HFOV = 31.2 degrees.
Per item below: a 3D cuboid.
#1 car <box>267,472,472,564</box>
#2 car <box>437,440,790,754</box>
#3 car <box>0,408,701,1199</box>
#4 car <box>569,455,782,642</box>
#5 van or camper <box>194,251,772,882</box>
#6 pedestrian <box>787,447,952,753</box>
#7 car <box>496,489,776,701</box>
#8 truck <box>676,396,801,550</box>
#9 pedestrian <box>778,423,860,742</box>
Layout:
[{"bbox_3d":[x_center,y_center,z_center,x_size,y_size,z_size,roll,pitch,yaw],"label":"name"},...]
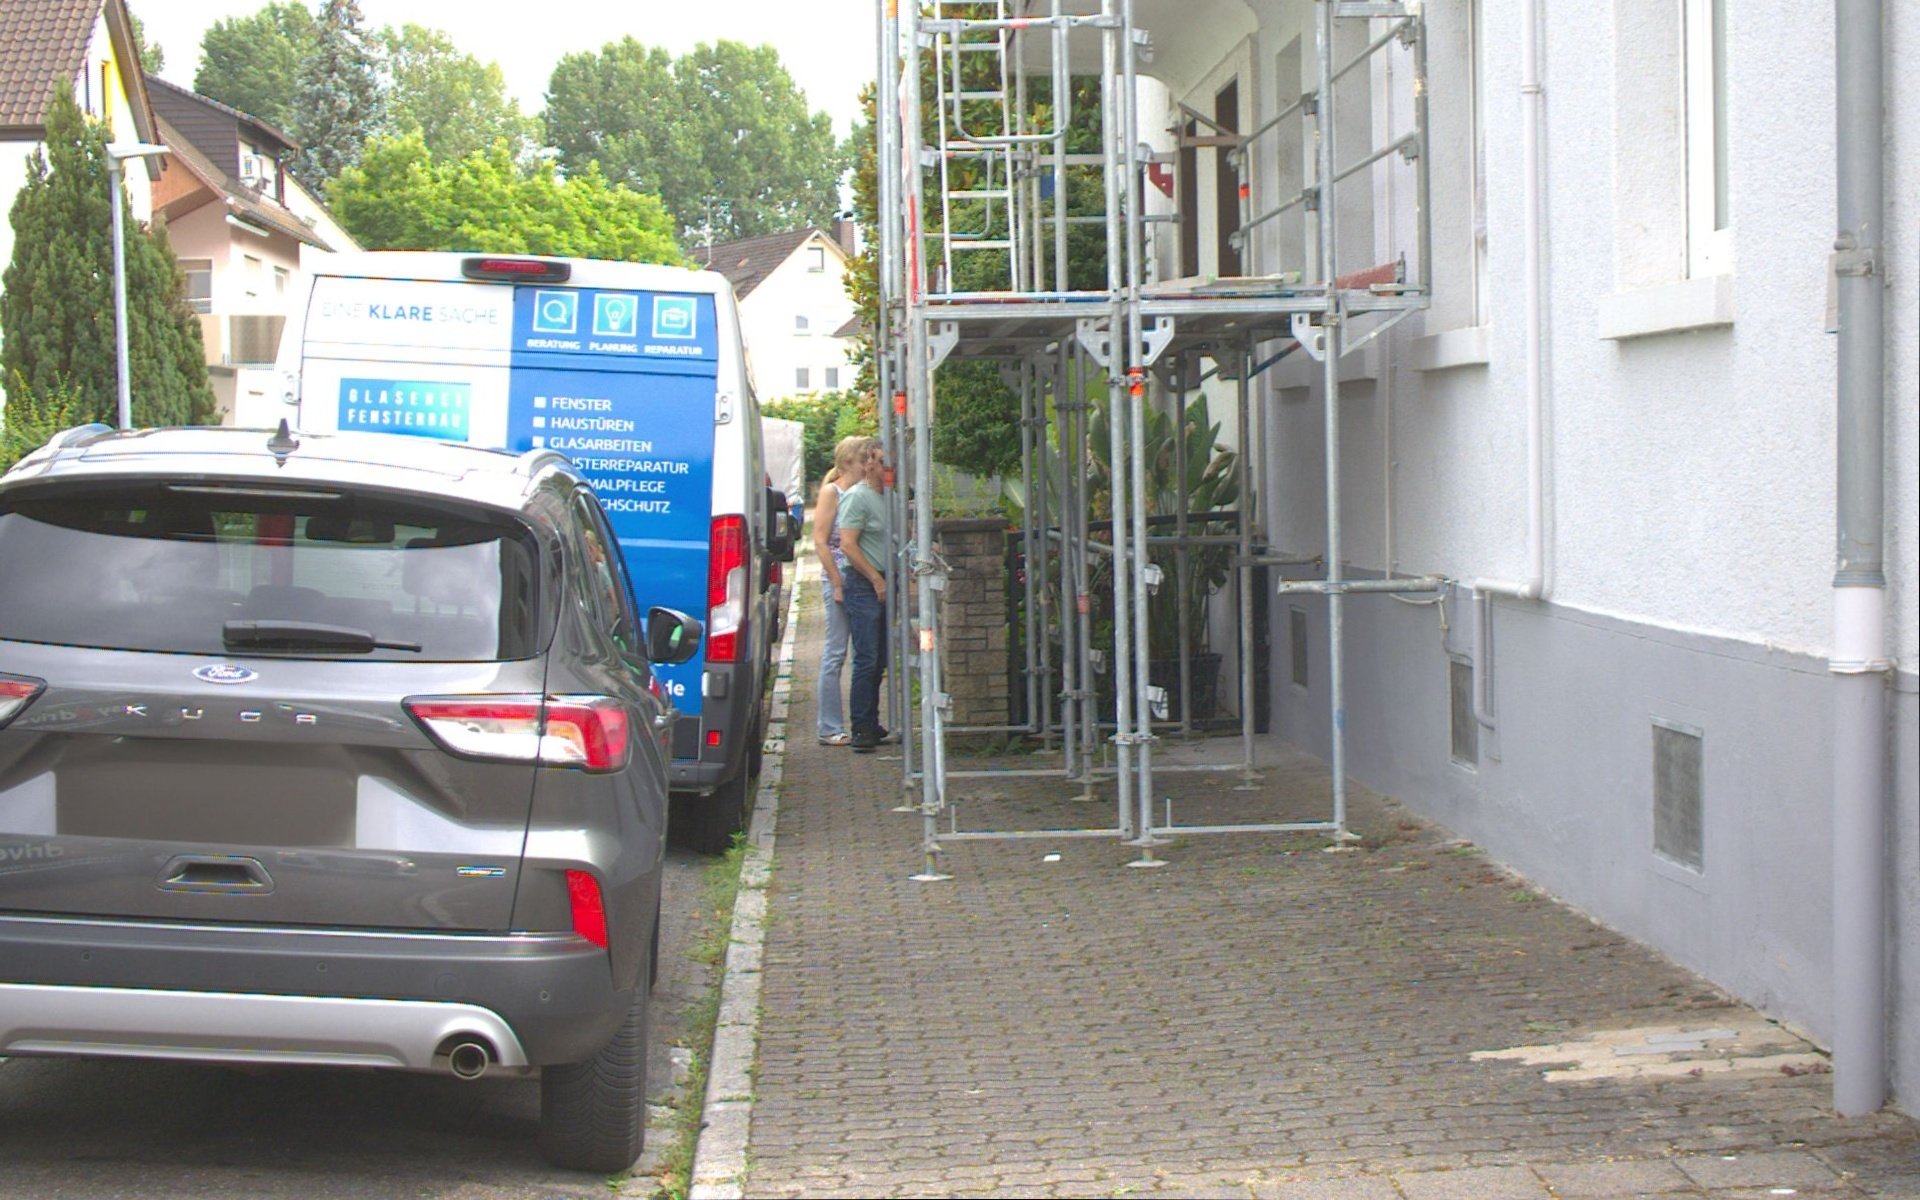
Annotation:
[{"bbox_3d":[-12.117,-1.686,70.758,3.986,1.766,1.870,-1,1,-5],"label":"car"},{"bbox_3d":[-2.183,-0.112,22.058,1.993,1.766,4.343,-1,2,-5],"label":"car"},{"bbox_3d":[-1.714,0.411,8.970,1.993,1.721,4.343,-1,2,-5],"label":"car"},{"bbox_3d":[-2.904,-0.581,35.096,1.993,1.743,4.343,-1,2,-5],"label":"car"},{"bbox_3d":[-2.019,-0.241,16.143,2.191,2.450,5.055,-1,2,-3],"label":"van or camper"},{"bbox_3d":[-0.491,-0.007,18.703,0.602,1.623,0.624,-1,1,39],"label":"pedestrian"},{"bbox_3d":[-2.533,-0.106,27.147,1.993,1.450,4.343,-1,2,-5],"label":"car"},{"bbox_3d":[-4.061,-2.326,62.672,2.129,2.648,4.586,-1,2,-4],"label":"truck"},{"bbox_3d":[-0.789,-0.101,19.233,0.407,1.756,0.513,-1,1,-2],"label":"pedestrian"}]
